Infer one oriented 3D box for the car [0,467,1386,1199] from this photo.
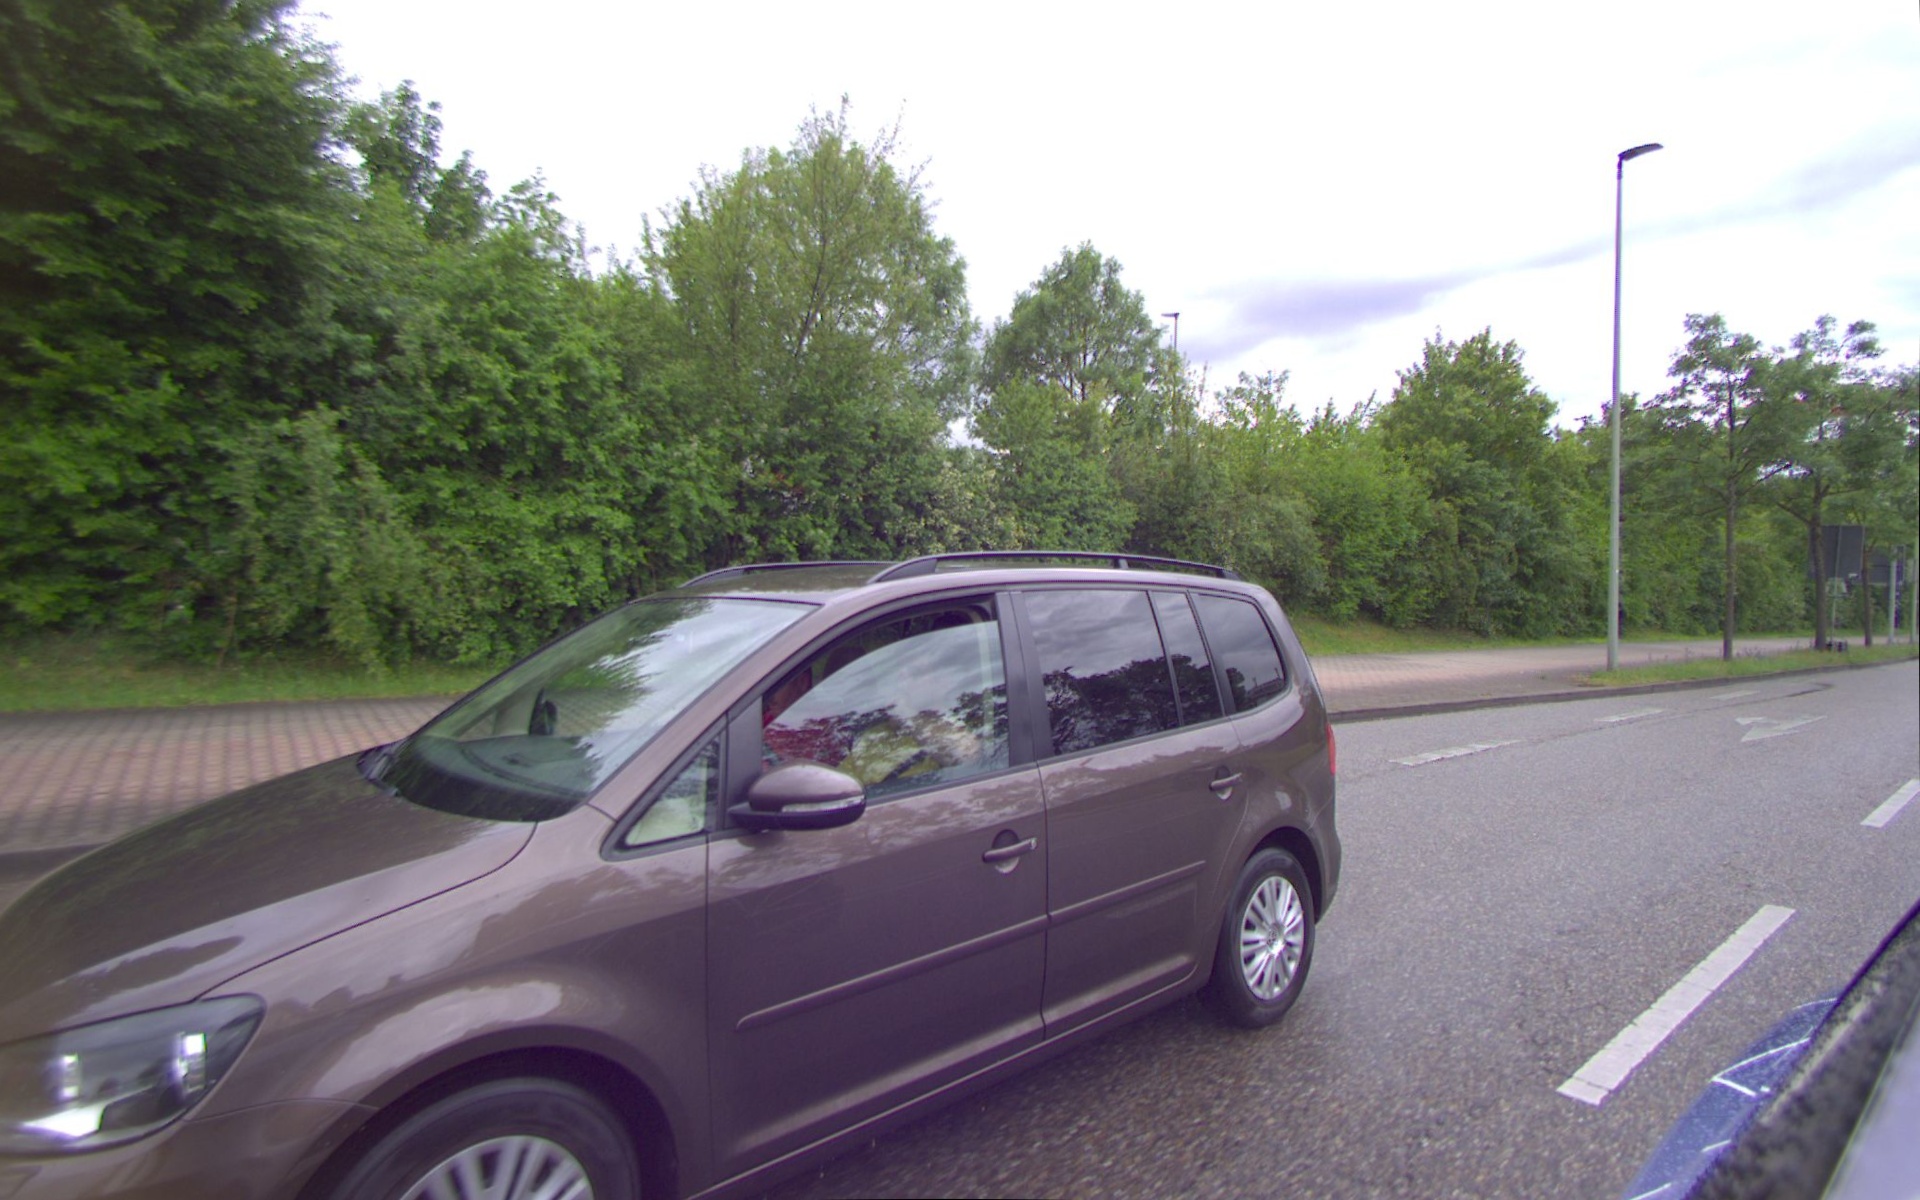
[{"bbox_3d":[-0.423,0.632,3.253,4.058,1.617,1.717,0,0,-41],"label":"car"}]
